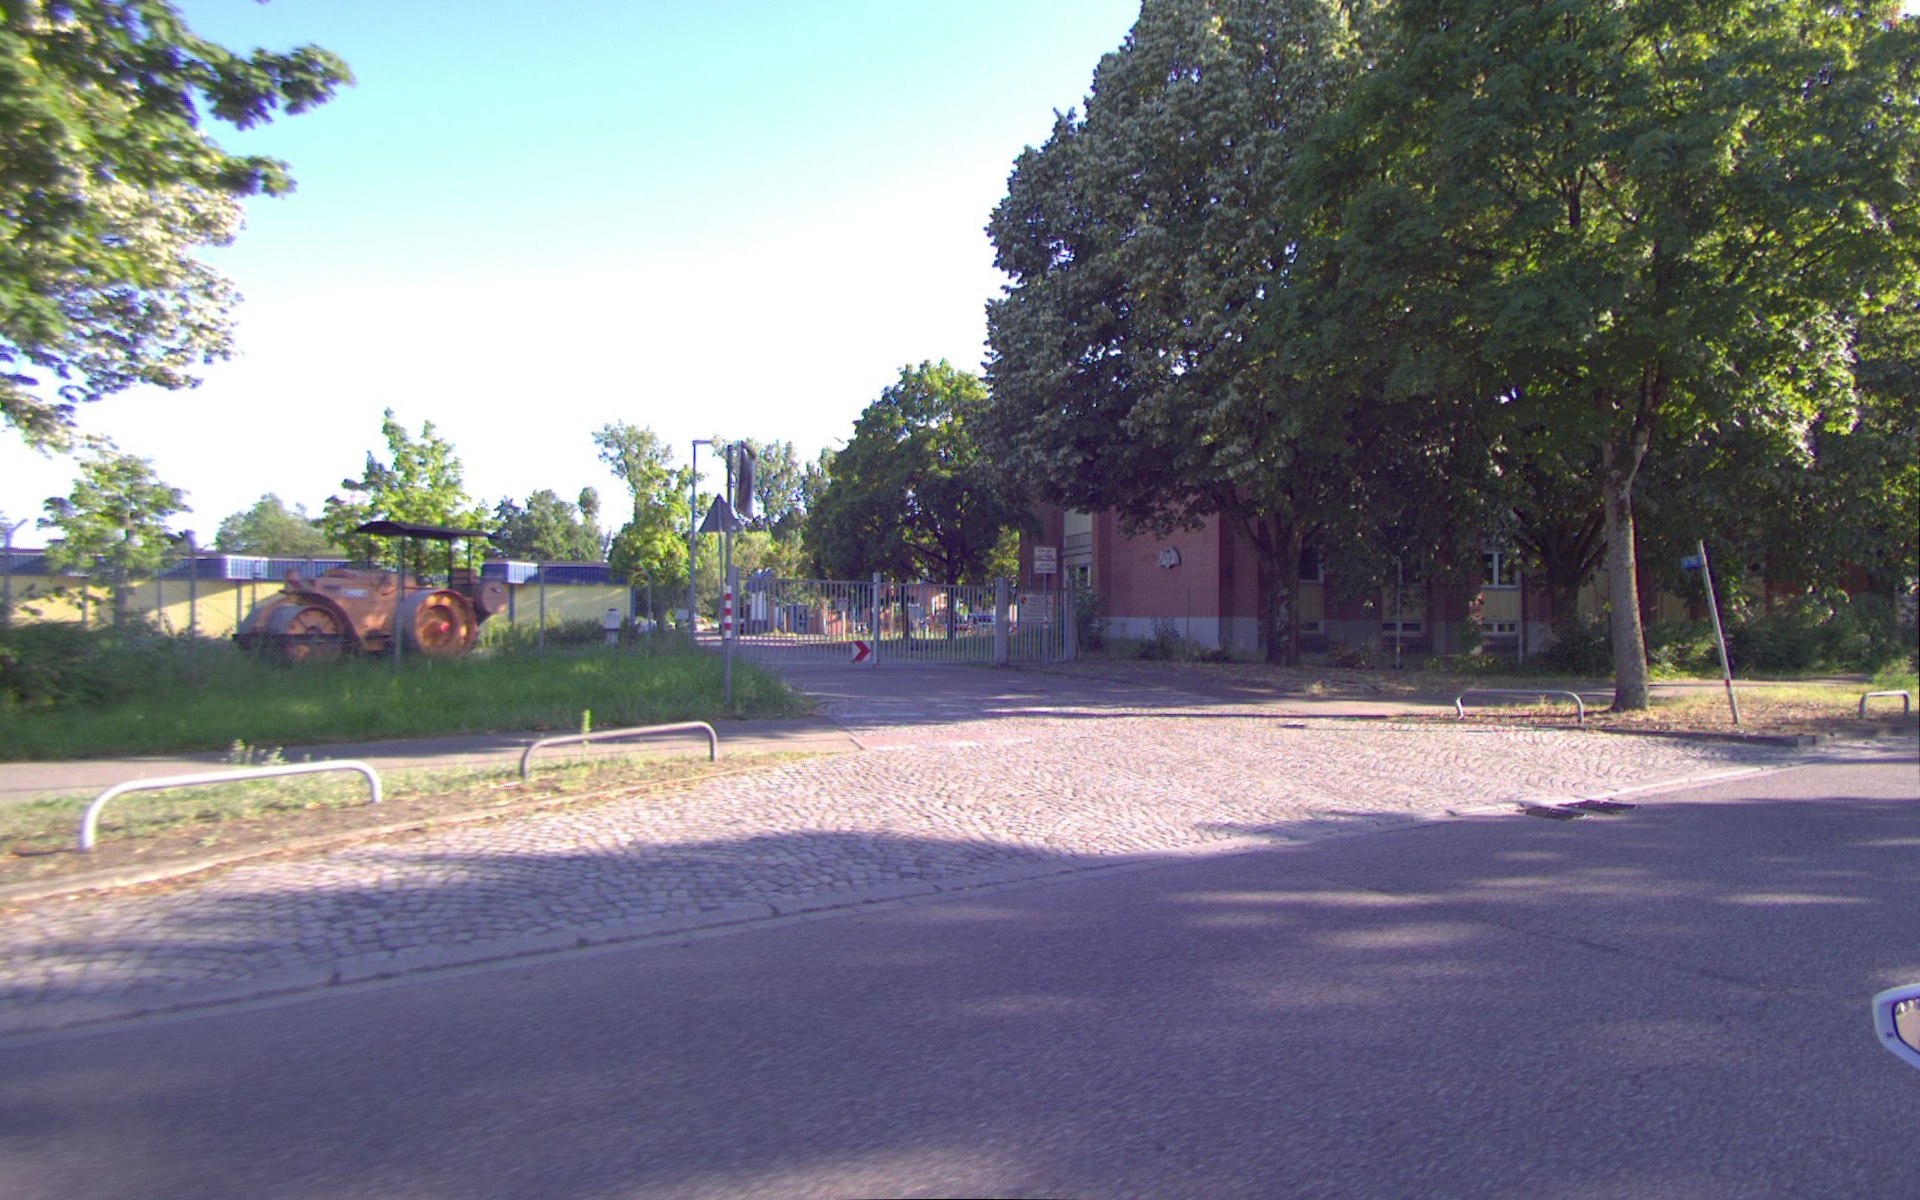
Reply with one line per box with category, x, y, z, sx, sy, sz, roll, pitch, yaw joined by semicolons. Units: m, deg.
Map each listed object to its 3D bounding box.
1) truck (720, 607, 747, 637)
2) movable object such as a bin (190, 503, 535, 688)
truck;-20.455;1.983;90.515;2.252;2.619;4.988;1;-1;-15
movable object such as a bin;-9.993;-0.006;17.328;2.123;2.699;4.803;0;-1;22
